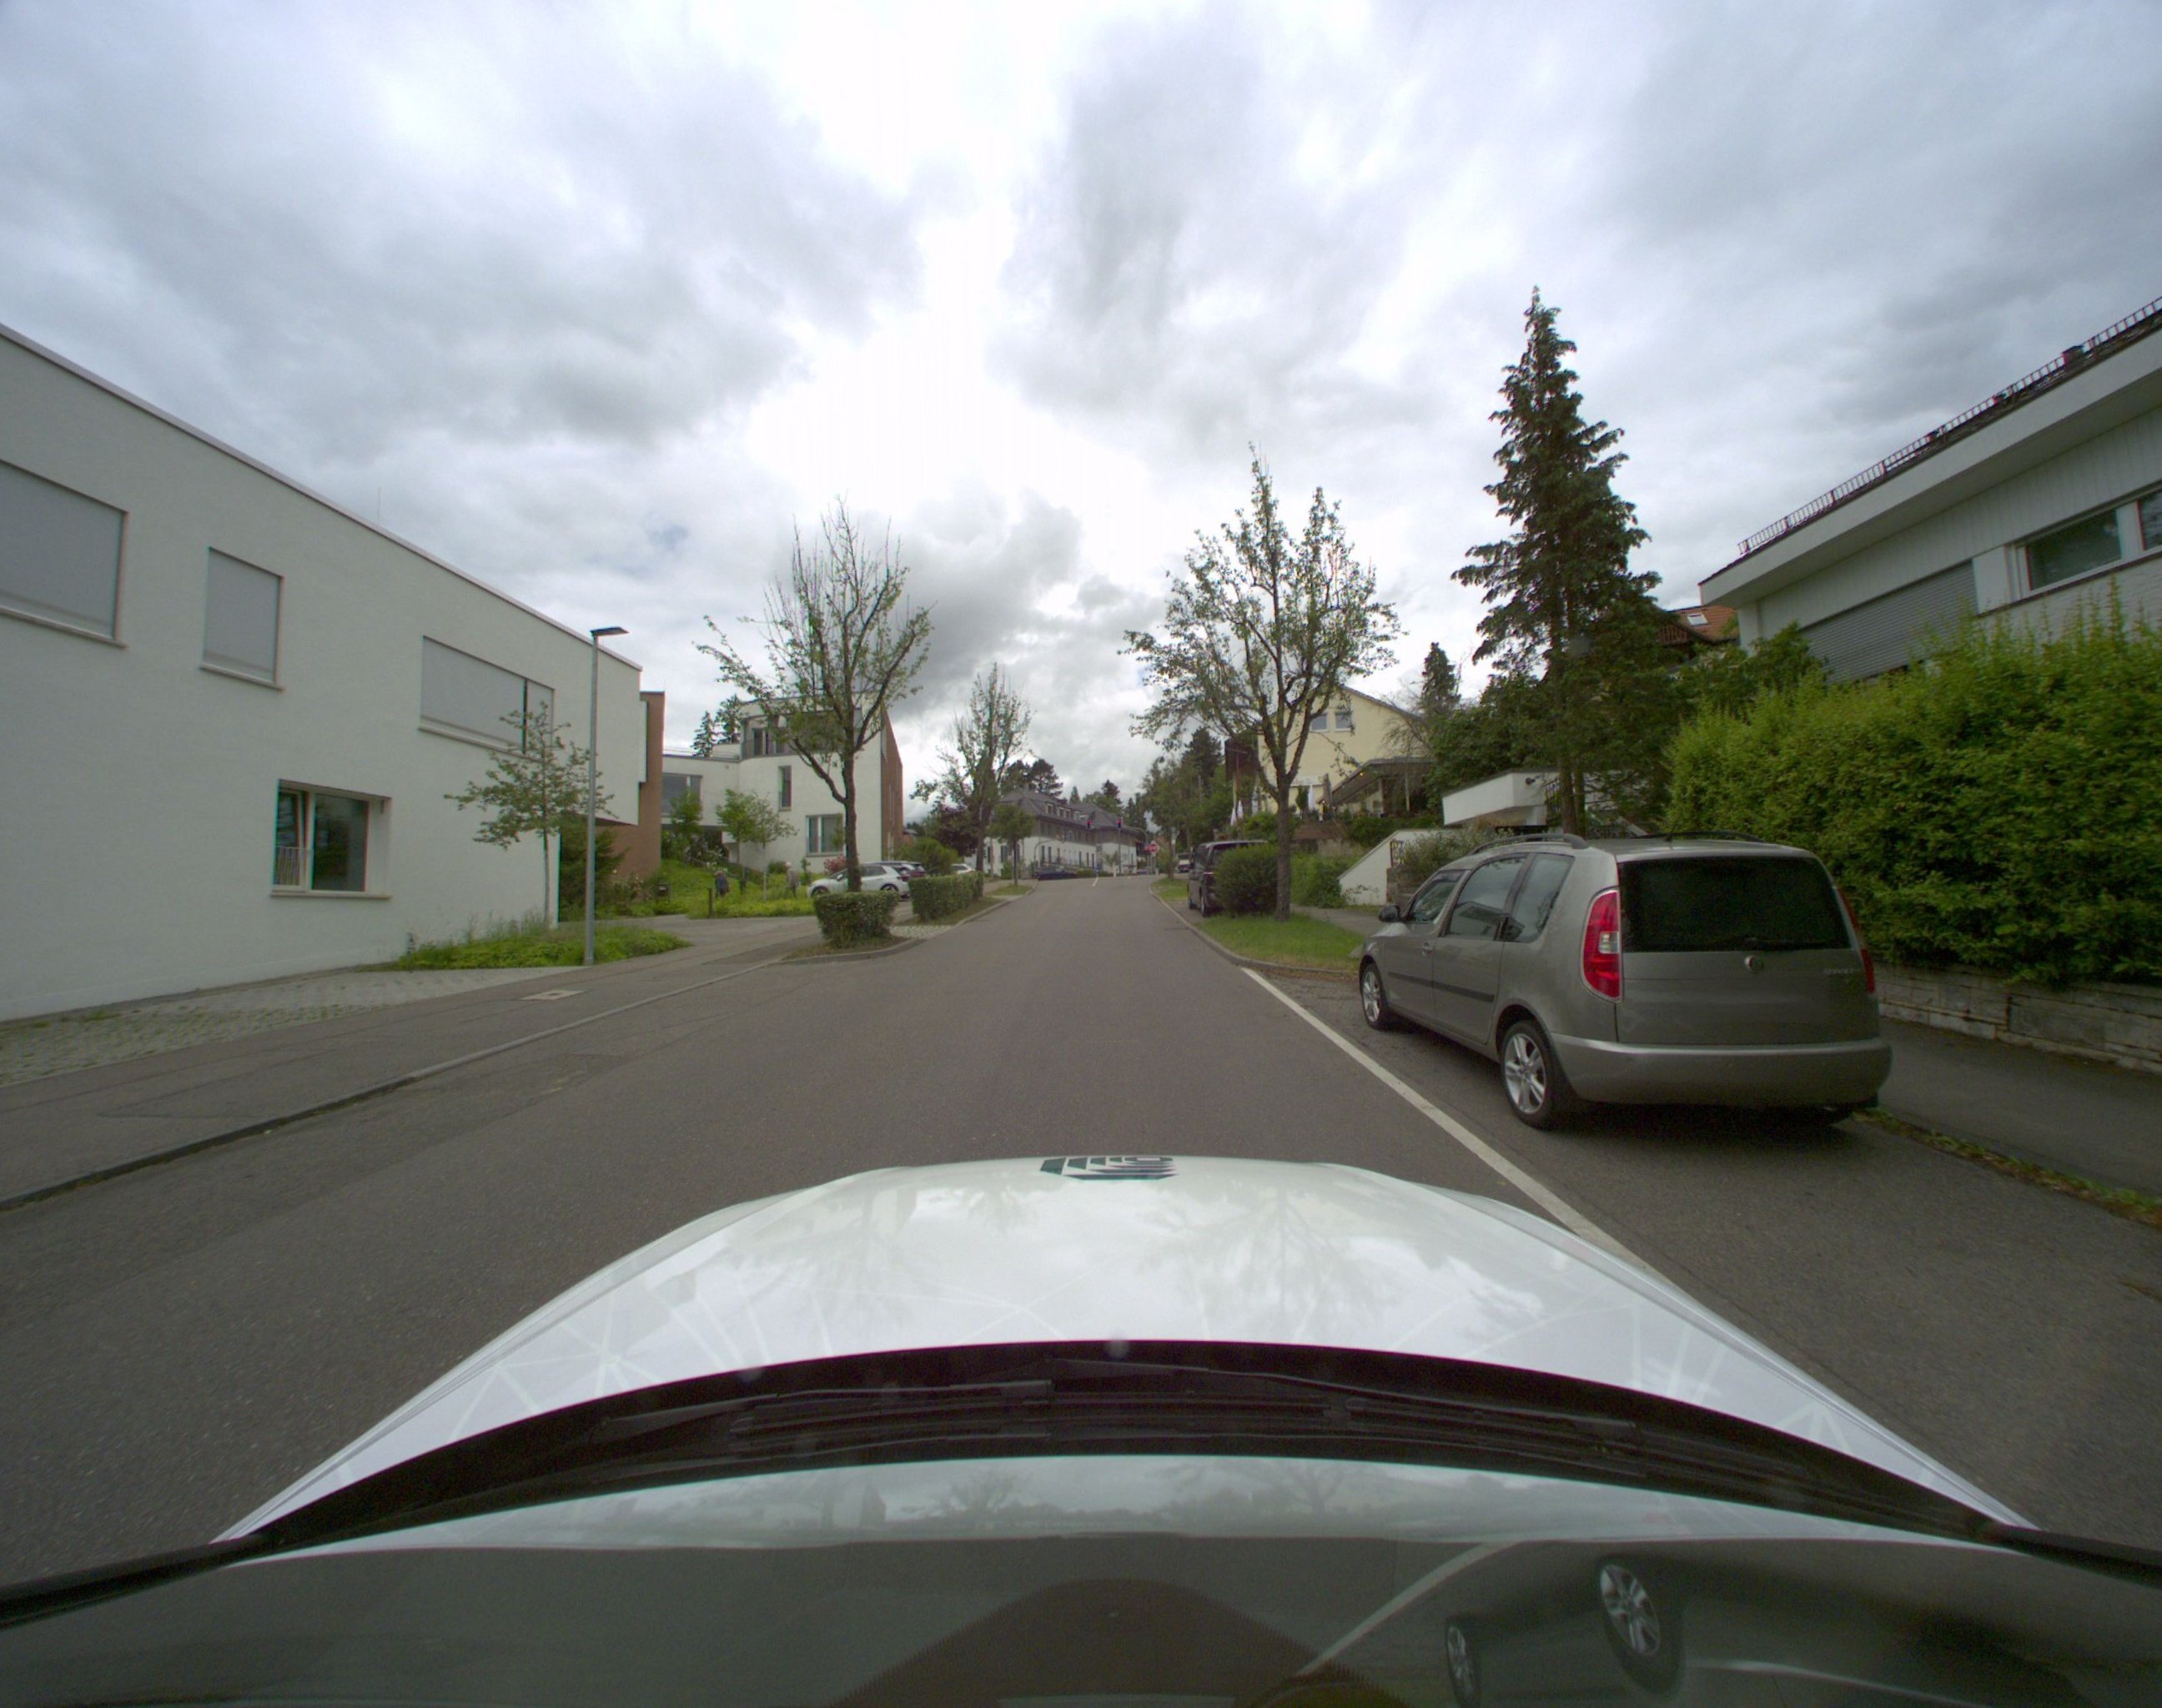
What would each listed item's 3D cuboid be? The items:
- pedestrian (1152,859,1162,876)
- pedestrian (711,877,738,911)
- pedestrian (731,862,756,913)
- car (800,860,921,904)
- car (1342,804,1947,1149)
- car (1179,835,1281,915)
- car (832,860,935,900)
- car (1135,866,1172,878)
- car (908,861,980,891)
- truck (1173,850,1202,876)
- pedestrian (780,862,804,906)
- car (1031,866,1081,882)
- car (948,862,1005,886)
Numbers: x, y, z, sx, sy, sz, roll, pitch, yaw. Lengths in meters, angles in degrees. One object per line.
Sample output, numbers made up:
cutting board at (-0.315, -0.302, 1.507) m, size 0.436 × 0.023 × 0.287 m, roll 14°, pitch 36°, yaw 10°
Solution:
pedestrian at (7.928, 1.406, 84.650) m, size 0.704 × 1.682 × 0.678 m, roll -2°, pitch -1°, yaw -39°
pedestrian at (-13.837, 1.533, 31.636) m, size 0.605 × 1.283 × 0.900 m, roll -1°, pitch -1°, yaw 1°
pedestrian at (-11.583, 1.143, 27.970) m, size 0.586 × 1.682 × 0.520 m, roll -2°, pitch -1°, yaw 3°
car at (-9.060, 1.126, 33.723) m, size 4.372 × 1.566 × 2.066 m, roll -3°, pitch 0°, yaw 0°
car at (3.318, 0.602, 5.858) m, size 1.710 × 1.632 × 3.930 m, roll -1°, pitch -1°, yaw 2°
car at (3.901, 0.520, 22.221) m, size 1.929 × 1.838 × 5.221 m, roll -2°, pitch 0°, yaw 2°
car at (-8.742, 1.137, 36.303) m, size 3.971 × 1.653 × 2.010 m, roll -2°, pitch -1°, yaw 2°
car at (8.596, 2.096, 96.387) m, size 4.012 × 1.287 × 1.981 m, roll 0°, pitch 0°, yaw -30°
car at (-8.785, 1.404, 52.558) m, size 4.248 × 1.623 × 2.012 m, roll -3°, pitch -2°, yaw -2°
truck at (10.545, 0.905, 80.792) m, size 2.176 × 2.195 × 5.881 m, roll -2°, pitch -3°, yaw 1°
pedestrian at (-11.138, 1.135, 31.396) m, size 0.591 × 1.640 × 0.566 m, roll -3°, pitch -1°, yaw 2°
car at (-2.609, 2.128, 85.353) m, size 4.722 × 1.491 × 2.142 m, roll -2°, pitch -1°, yaw -27°
car at (-7.296, 1.418, 57.202) m, size 3.753 × 1.464 × 1.729 m, roll -3°, pitch -1°, yaw -5°
